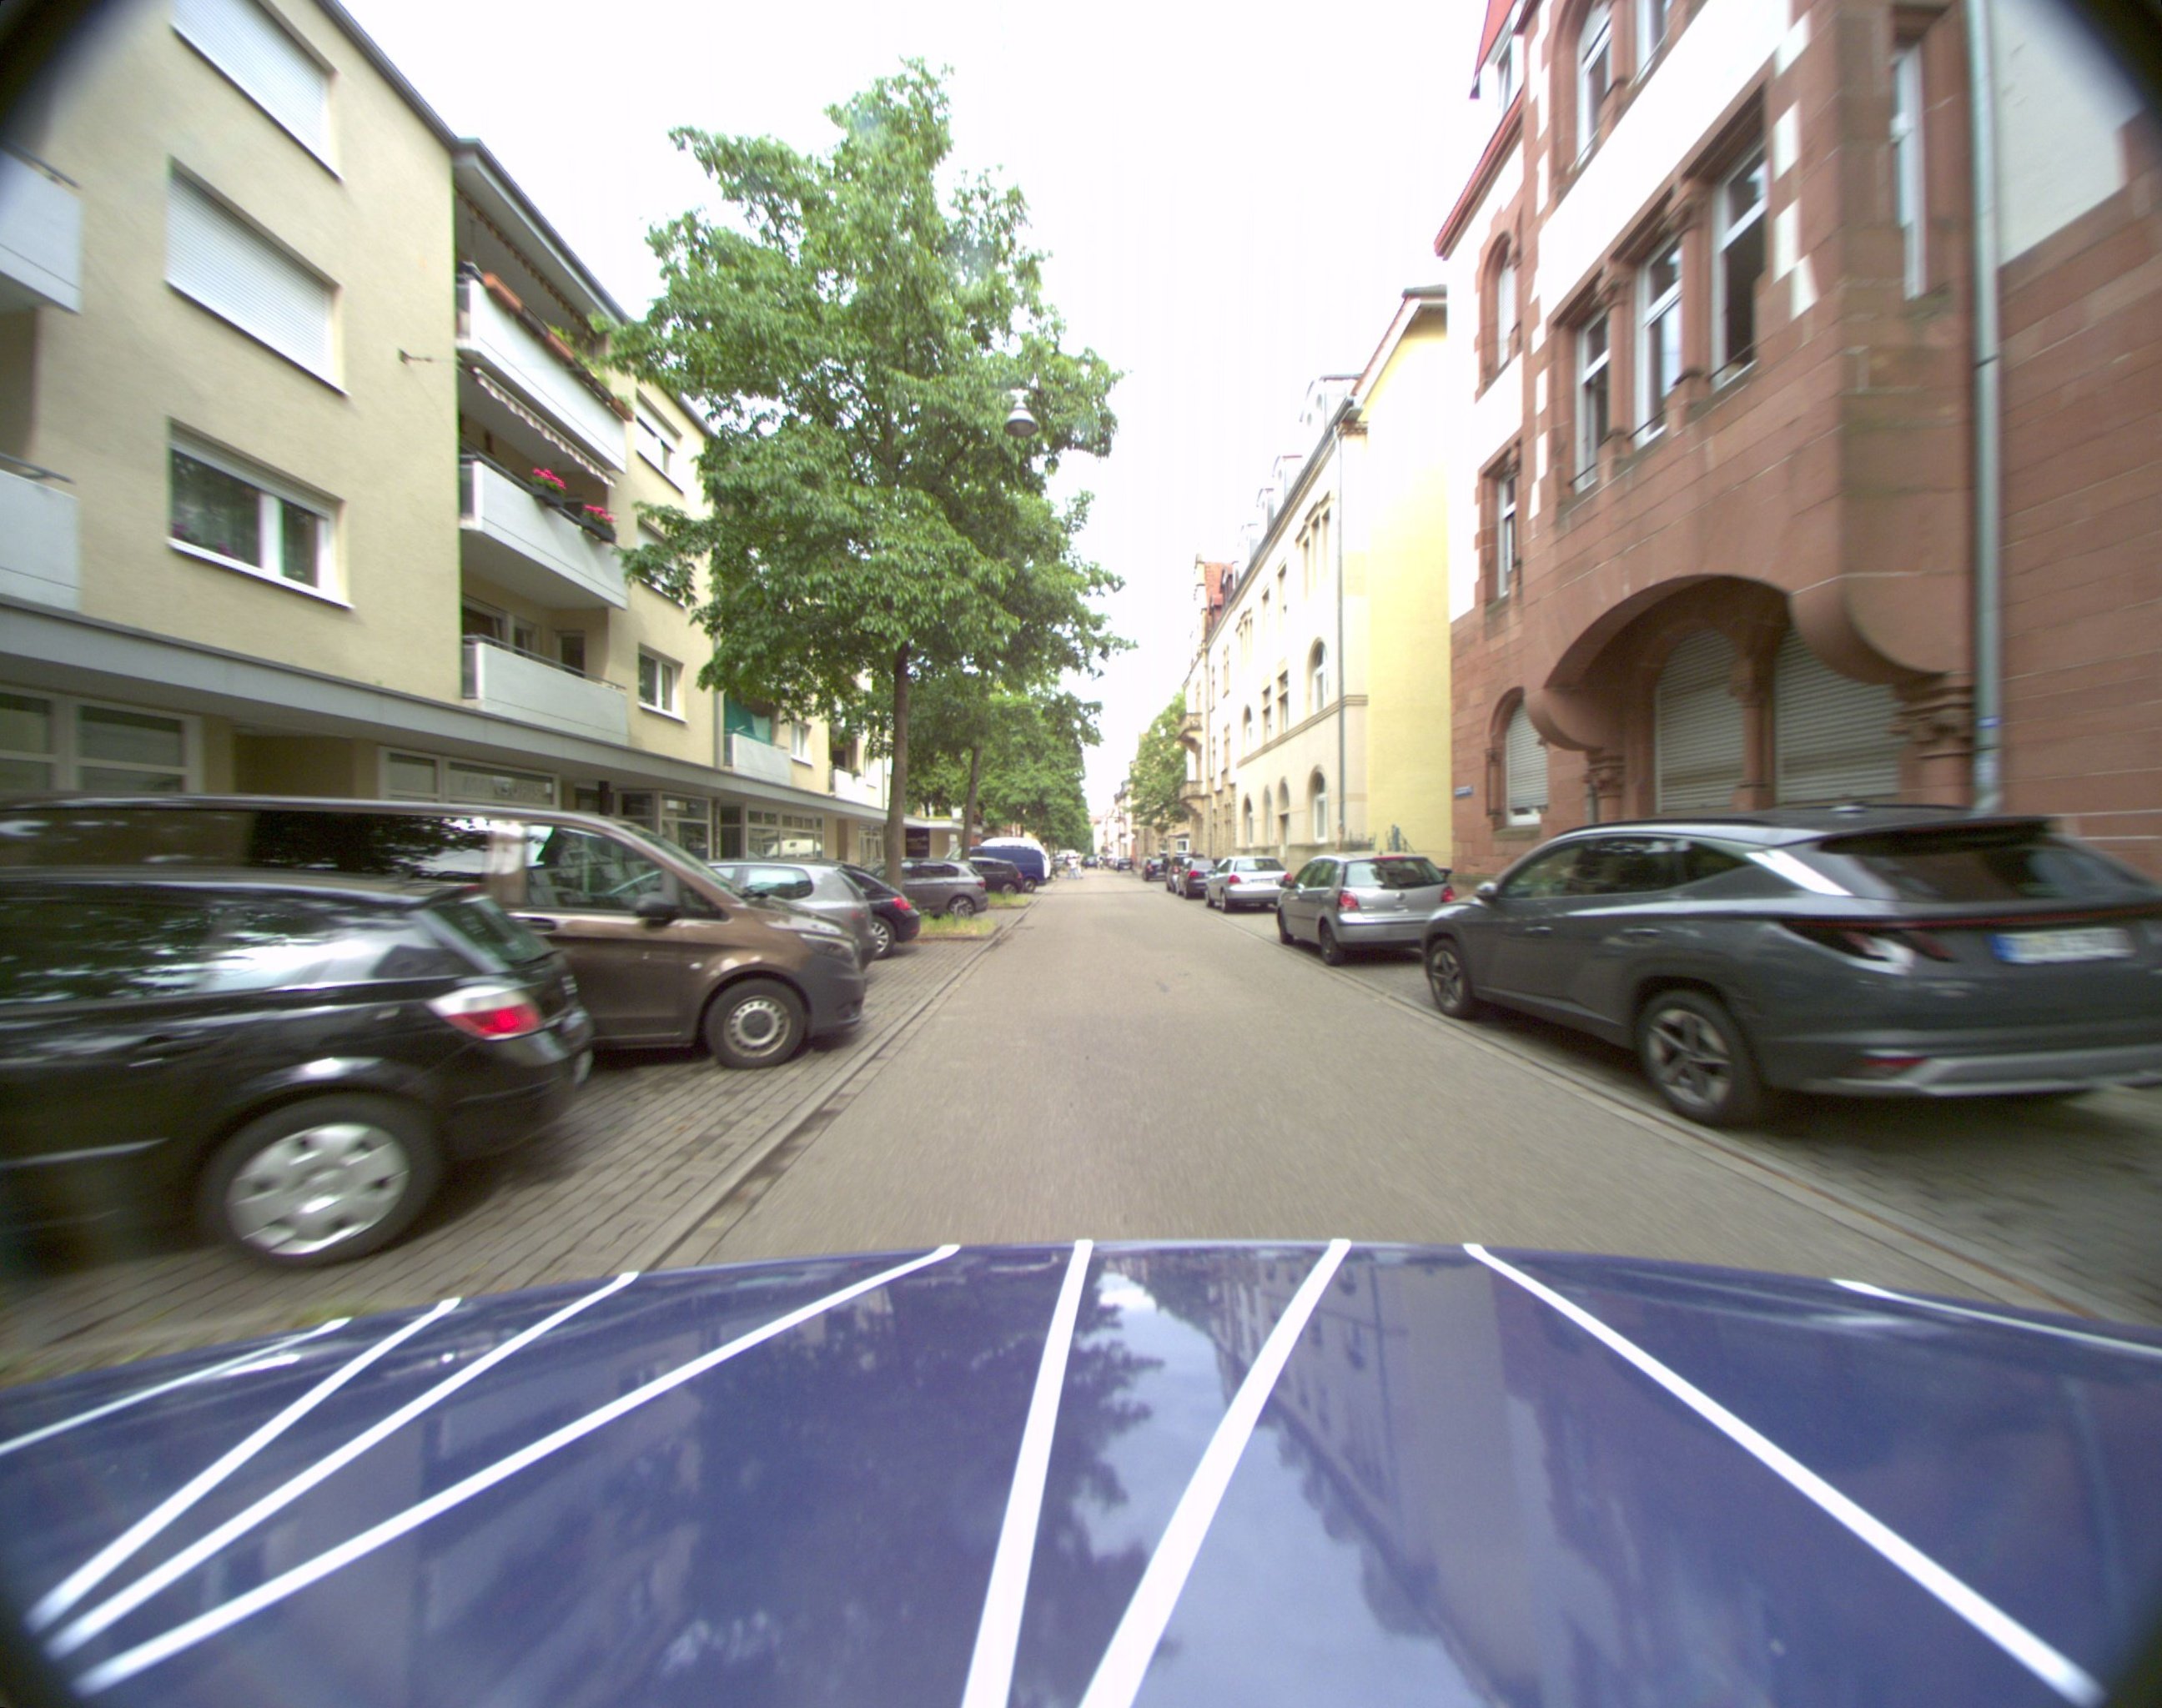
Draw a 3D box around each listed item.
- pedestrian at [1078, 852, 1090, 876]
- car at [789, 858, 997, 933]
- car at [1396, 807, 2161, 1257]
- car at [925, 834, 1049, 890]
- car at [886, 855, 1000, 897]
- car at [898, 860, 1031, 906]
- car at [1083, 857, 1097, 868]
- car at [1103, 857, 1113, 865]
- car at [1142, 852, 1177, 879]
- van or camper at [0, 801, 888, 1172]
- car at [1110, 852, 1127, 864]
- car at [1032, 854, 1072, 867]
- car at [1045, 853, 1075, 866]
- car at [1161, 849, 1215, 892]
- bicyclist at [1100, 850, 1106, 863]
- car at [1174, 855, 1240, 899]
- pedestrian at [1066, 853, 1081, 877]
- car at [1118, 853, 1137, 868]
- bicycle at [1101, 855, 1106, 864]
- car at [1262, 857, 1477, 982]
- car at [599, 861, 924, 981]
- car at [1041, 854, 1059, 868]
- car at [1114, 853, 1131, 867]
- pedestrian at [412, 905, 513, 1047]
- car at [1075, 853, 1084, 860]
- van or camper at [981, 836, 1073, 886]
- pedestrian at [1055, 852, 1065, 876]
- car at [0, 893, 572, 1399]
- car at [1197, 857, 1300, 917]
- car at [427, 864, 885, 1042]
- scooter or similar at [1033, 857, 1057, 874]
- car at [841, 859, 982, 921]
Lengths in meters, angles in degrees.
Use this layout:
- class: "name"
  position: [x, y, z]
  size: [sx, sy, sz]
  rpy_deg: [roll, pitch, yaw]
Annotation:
- class: "pedestrian"
  position: [0.213, 0.678, 51.144]
  size: [0.617, 1.634, 0.604]
  rpy_deg: [-1, 0, 12]
- class: "car"
  position: [-4.284, 0.889, 17.423]
  size: [4.234, 1.492, 1.971]
  rpy_deg: [1, 1, -29]
- class: "car"
  position: [3.989, 0.690, 5.148]
  size: [1.791, 1.637, 4.361]
  rpy_deg: [-5, 0, 0]
- class: "car"
  position: [-3.900, 0.392, 31.959]
  size: [4.716, 2.183, 2.061]
  rpy_deg: [2, -1, -37]
- class: "car"
  position: [-5.185, 0.788, 28.537]
  size: [3.919, 1.457, 1.821]
  rpy_deg: [0, 0, -24]
- class: "car"
  position: [-3.983, 0.934, 26.086]
  size: [4.120, 1.434, 1.848]
  rpy_deg: [0, 0, -31]
- class: "car"
  position: [1.263, 1.122, 101.355]
  size: [1.712, 1.404, 3.855]
  rpy_deg: [0, -2, 2]
- class: "car"
  position: [4.944, 1.264, 140.159]
  size: [1.610, 1.463, 3.342]
  rpy_deg: [0, 0, 0]
- class: "car"
  position: [4.634, 0.655, 45.406]
  size: [1.713, 1.486, 4.000]
  rpy_deg: [-3, 0, 2]
- class: "van or camper"
  position: [-4.176, 0.684, 5.536]
  size: [5.029, 1.858, 2.122]
  rpy_deg: [1, 1, -25]
- class: "car"
  position: [4.750, 0.491, 96.579]
  size: [1.671, 1.502, 3.552]
  rpy_deg: [-1, 0, -4]
- class: "car"
  position: [-3.495, 0.746, 90.386]
  size: [4.454, 1.419, 1.754]
  rpy_deg: [2, 0, -33]
- class: "car"
  position: [-2.991, 0.722, 108.602]
  size: [3.993, 1.801, 1.722]
  rpy_deg: [-1, 0, 12]
- class: "car"
  position: [4.331, 0.657, 31.122]
  size: [1.651, 1.561, 2.957]
  rpy_deg: [-4, -1, 0]
- class: "bicyclist"
  position: [2.698, 0.312, 92.059]
  size: [0.649, 1.529, 0.677]
  rpy_deg: [0, 1, 3]
- class: "car"
  position: [4.343, 0.768, 26.655]
  size: [1.730, 1.378, 3.929]
  rpy_deg: [-2, 0, 2]
- class: "pedestrian"
  position: [-0.493, 0.714, 50.540]
  size: [0.630, 1.584, 0.671]
  rpy_deg: [-1, 1, 42]
- class: "car"
  position: [4.656, 0.670, 76.584]
  size: [1.731, 1.425, 3.882]
  rpy_deg: [-2, 0, 2]
- class: "bicycle"
  position: [2.699, 0.719, 92.007]
  size: [0.635, 1.087, 1.800]
  rpy_deg: [0, -1, 3]
- class: "car"
  position: [3.928, 0.795, 11.088]
  size: [1.666, 1.412, 3.929]
  rpy_deg: [-3, 0, 2]
- class: "car"
  position: [-4.549, 0.869, 11.214]
  size: [4.057, 1.475, 1.944]
  rpy_deg: [1, 1, -23]
- class: "car"
  position: [-3.429, 0.761, 83.820]
  size: [1.768, 1.477, 4.479]
  rpy_deg: [1, 0, 0]
- class: "car"
  position: [4.696, 0.690, 86.178]
  size: [1.593, 1.425, 3.809]
  rpy_deg: [-2, 0, -1]
- class: "pedestrian"
  position: [-8.164, 1.577, 10.063]
  size: [0.626, 1.732, 0.849]
  rpy_deg: [1, 1, 1]
- class: "car"
  position: [-0.311, 0.547, 189.958]
  size: [1.998, 1.739, 4.001]
  rpy_deg: [-1, 0, 3]
- class: "van or camper"
  position: [-2.903, 0.336, 41.274]
  size: [4.604, 2.581, 1.906]
  rpy_deg: [-1, 1, -32]
- class: "pedestrian"
  position: [-1.454, 0.661, 52.357]
  size: [0.528, 1.634, 0.529]
  rpy_deg: [-2, 0, 12]
- class: "car"
  position: [-4.328, 0.913, 2.747]
  size: [4.015, 1.436, 1.837]
  rpy_deg: [2, 0, -31]
- class: "car"
  position: [4.287, 0.790, 20.107]
  size: [1.730, 1.378, 4.136]
  rpy_deg: [-1, 0, -1]
- class: "car"
  position: [-4.252, 0.886, 8.204]
  size: [3.867, 1.493, 1.909]
  rpy_deg: [1, 1, -24]
- class: "scooter or similar"
  position: [-2.490, 0.794, 52.552]
  size: [1.471, 1.098, 0.676]
  rpy_deg: [1, 1, 12]
- class: "car"
  position: [-4.518, 0.900, 20.189]
  size: [3.374, 1.488, 1.848]
  rpy_deg: [0, 0, -23]
